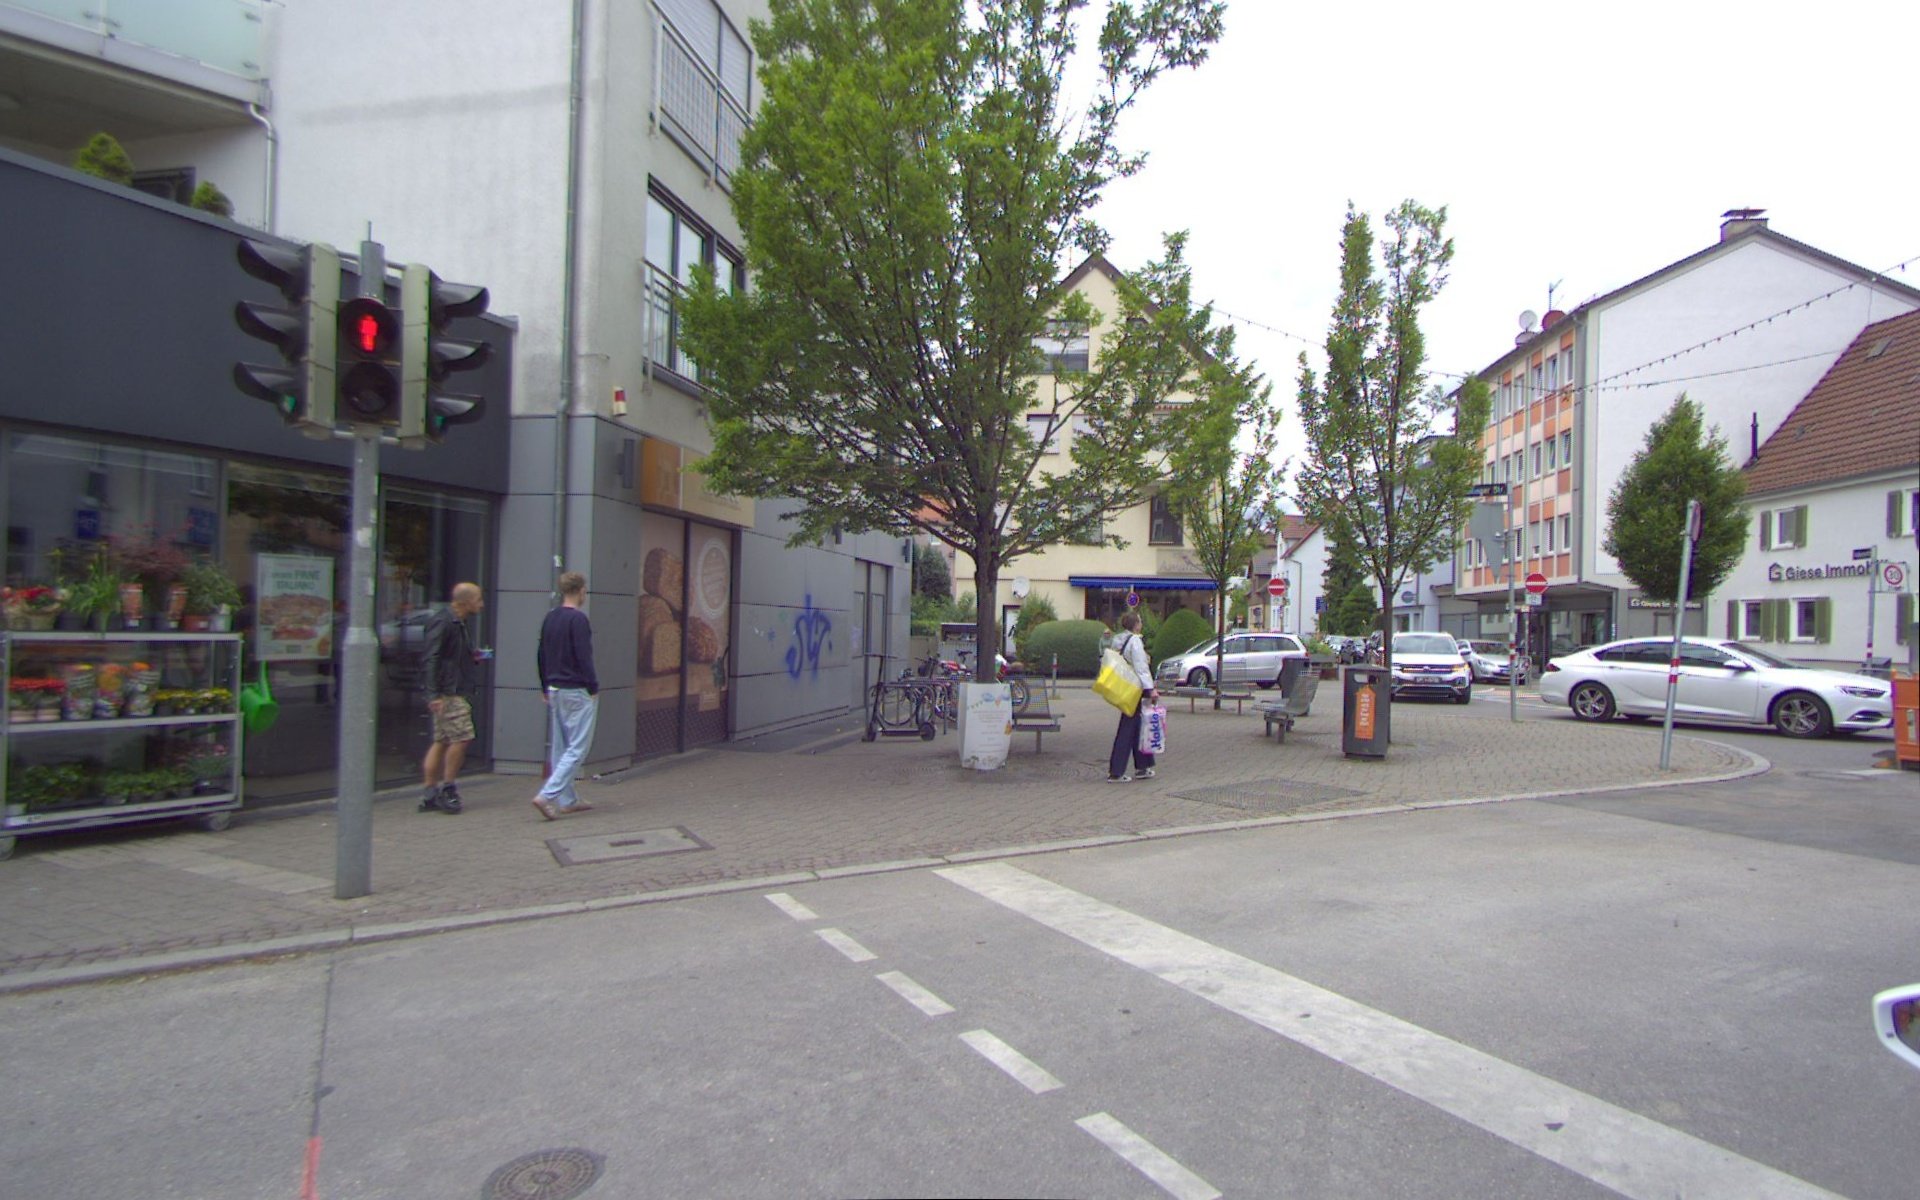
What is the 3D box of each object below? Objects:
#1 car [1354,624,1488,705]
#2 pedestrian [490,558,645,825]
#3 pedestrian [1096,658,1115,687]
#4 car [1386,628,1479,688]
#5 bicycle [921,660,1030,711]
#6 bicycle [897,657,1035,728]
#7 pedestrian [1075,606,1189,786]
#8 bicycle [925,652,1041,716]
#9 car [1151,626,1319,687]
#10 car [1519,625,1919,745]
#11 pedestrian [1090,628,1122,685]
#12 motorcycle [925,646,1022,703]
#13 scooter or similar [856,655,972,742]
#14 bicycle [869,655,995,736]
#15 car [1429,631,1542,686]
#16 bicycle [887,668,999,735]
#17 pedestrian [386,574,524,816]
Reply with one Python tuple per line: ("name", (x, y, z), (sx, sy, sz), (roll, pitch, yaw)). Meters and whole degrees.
("car", (10.694, 1.413, 23.680), (1.981, 1.578, 4.921), (1, 0, 14))
("pedestrian", (-3.067, 0.673, 7.879), (0.802, 1.951, 0.783), (0, -1, 30))
("pedestrian", (4.313, 2.141, 29.727), (0.563, 0.809, 0.454), (0, -2, 9))
("car", (14.575, 1.726, 31.237), (1.981, 1.578, 4.920), (1, 0, 18))
("bicycle", (0.319, 1.649, 19.378), (2.033, 0.877, 0.629), (-2, -1, 5))
("bicycle", (0.113, 1.464, 16.064), (2.108, 1.060, 0.751), (-2, -2, 8))
("pedestrian", (1.606, 0.878, 9.451), (0.864, 1.613, 0.681), (1, -1, -13))
("bicycle", (0.417, 1.467, 17.688), (1.921, 1.088, 0.812), (-1, -2, 11))
("car", (7.872, 1.623, 28.950), (4.246, 1.661, 1.998), (1, -2, -6))
("car", (12.092, 1.223, 16.249), (2.225, 1.496, 4.875), (1, 0, -32))
("pedestrian", (4.432, 1.714, 30.514), (0.755, 1.691, 0.954), (0, -2, 22))
("motorcycle", (0.290, 1.509, 20.524), (1.915, 1.119, 0.803), (0, -2, 6))
("scooter or similar", (-0.622, 1.344, 13.887), (1.501, 1.138, 0.598), (0, -1, 9))
("bicycle", (-0.401, 1.384, 14.639), (1.710, 1.060, 0.532), (-3, -2, 8))
("car", (17.711, 1.908, 34.120), (1.980, 1.578, 4.922), (1, 0, 10))
("bicycle", (-0.253, 1.548, 15.387), (1.597, 0.894, 0.496), (-5, -2, 8))
("pedestrian", (-4.017, 0.728, 8.018), (0.681, 1.814, 0.718), (-1, -1, 26))
